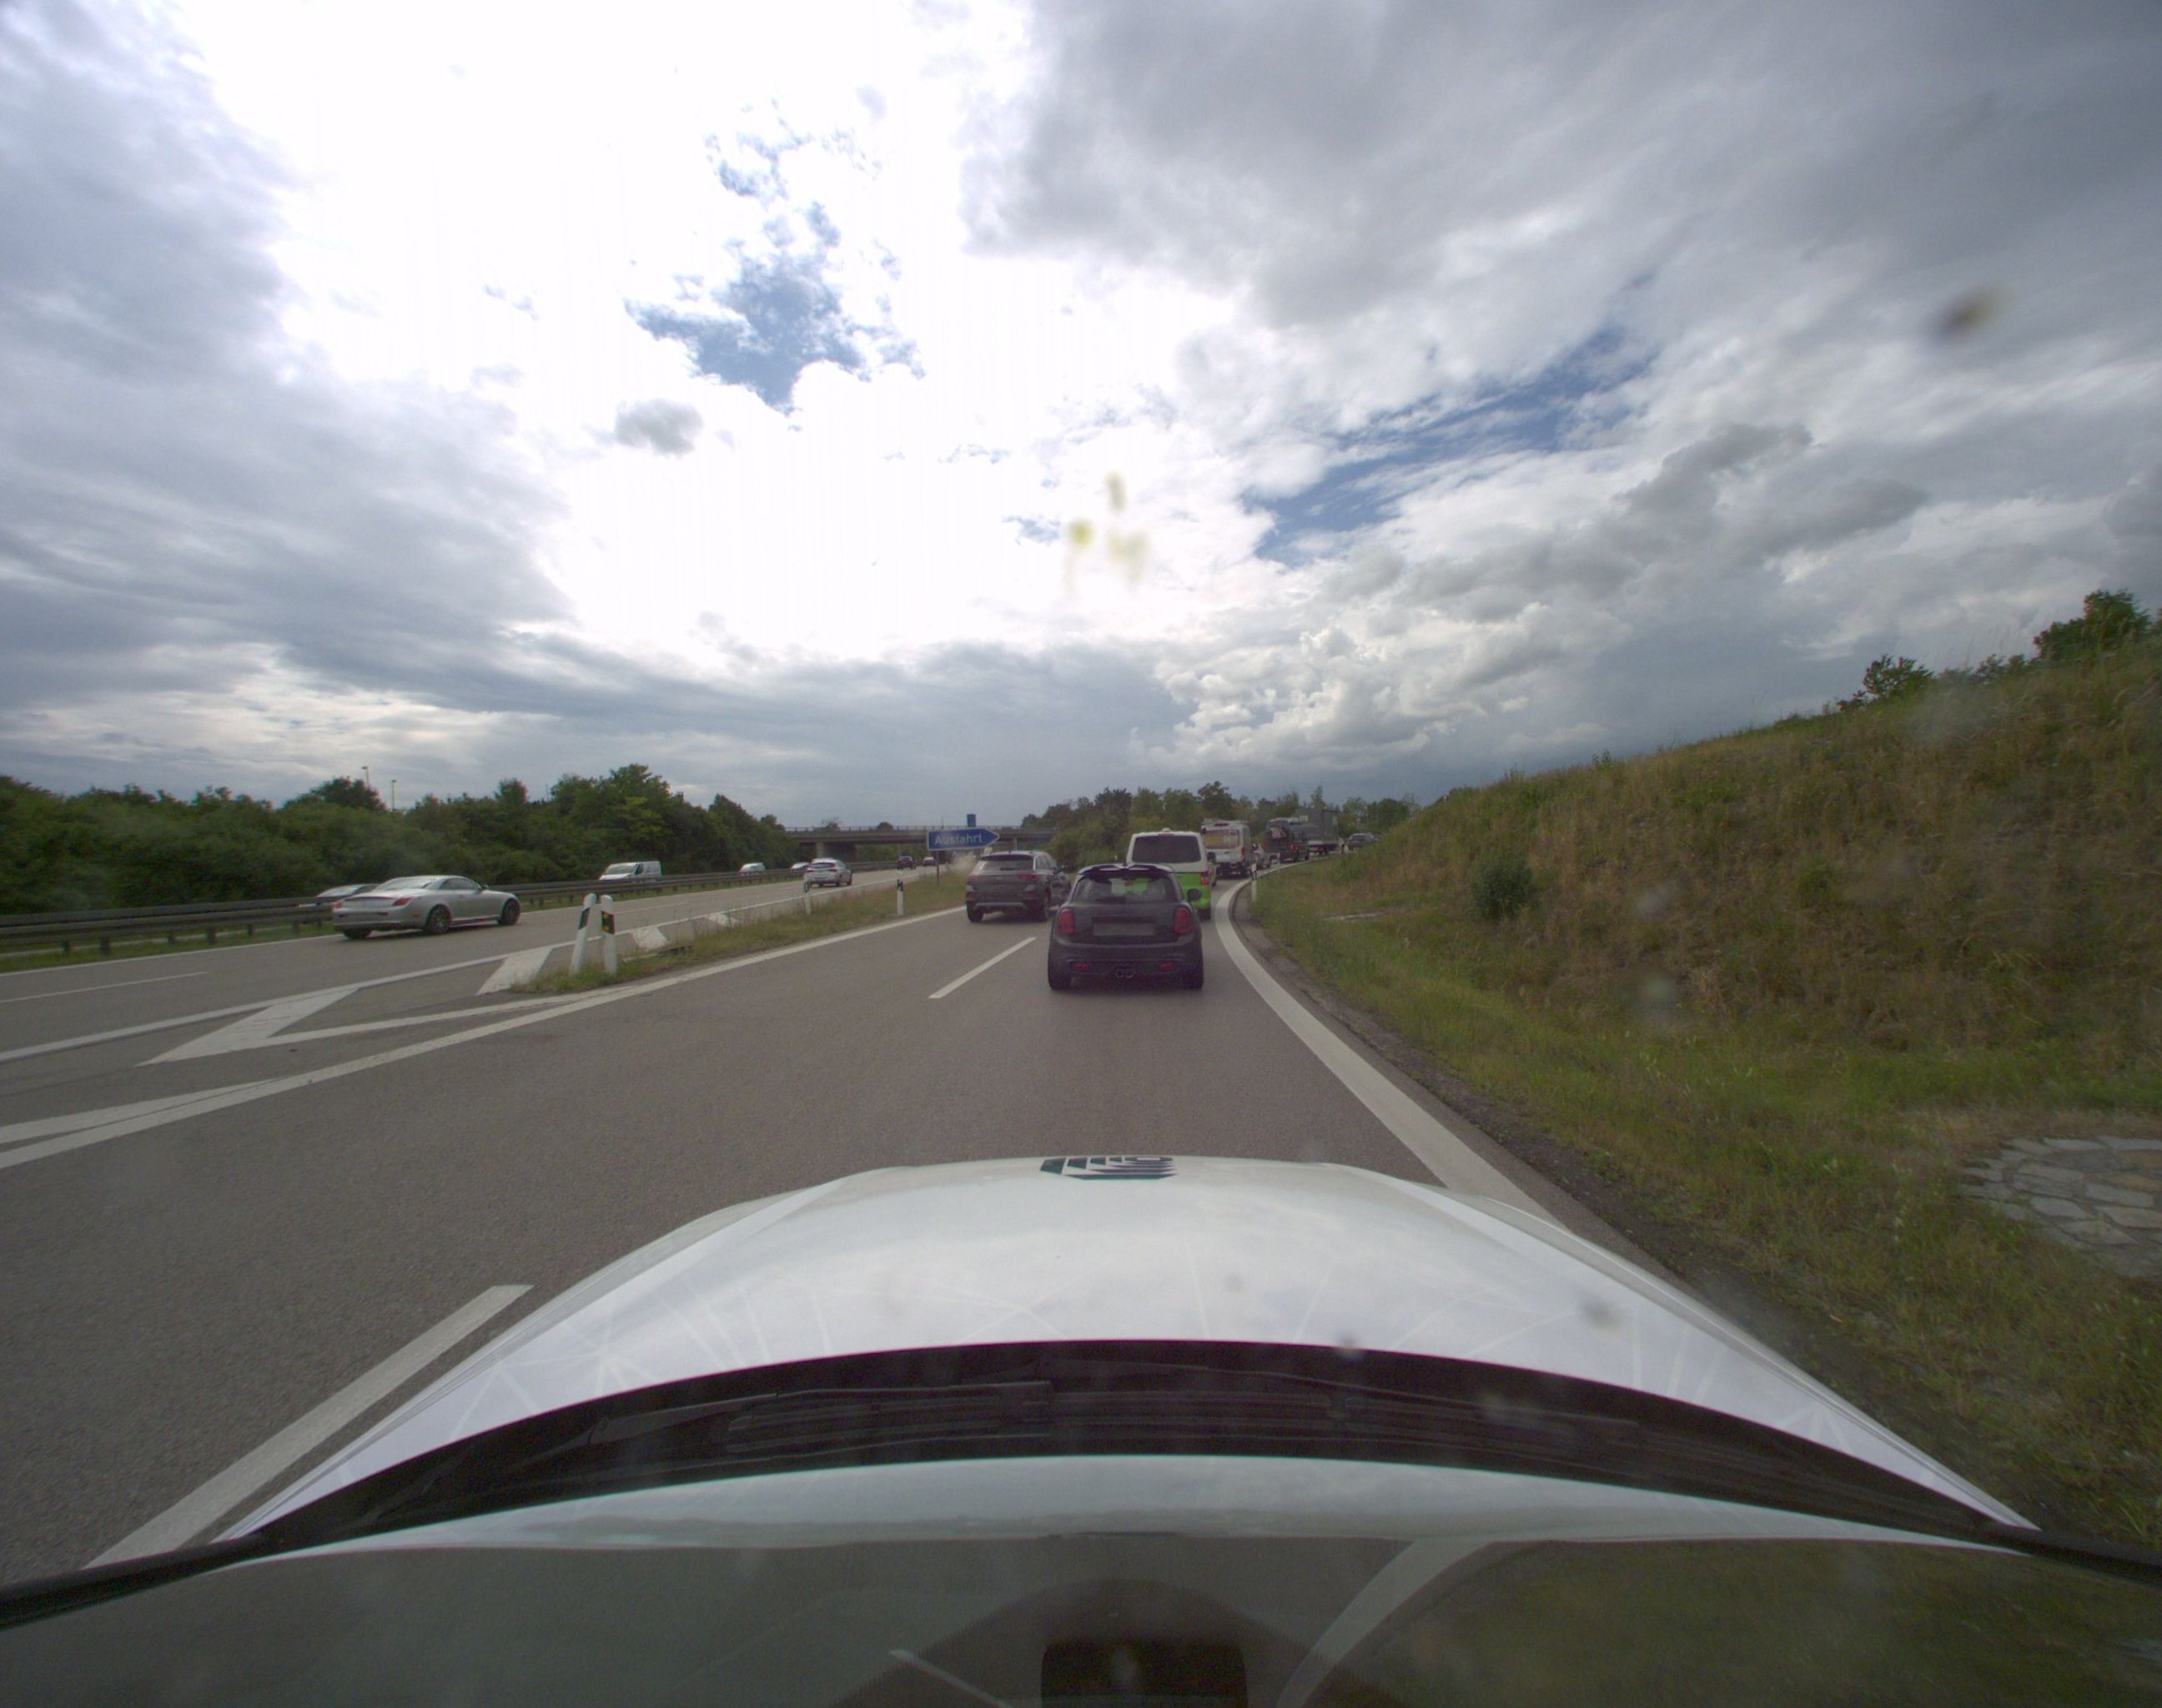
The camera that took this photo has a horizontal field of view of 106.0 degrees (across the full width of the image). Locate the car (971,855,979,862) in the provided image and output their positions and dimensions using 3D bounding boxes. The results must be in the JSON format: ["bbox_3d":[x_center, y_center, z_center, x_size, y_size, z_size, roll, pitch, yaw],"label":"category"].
[{"bbox_3d":[-32.039,1.356,246.249,1.988,1.968,3.996,0,-1,-2],"label":"car"}]

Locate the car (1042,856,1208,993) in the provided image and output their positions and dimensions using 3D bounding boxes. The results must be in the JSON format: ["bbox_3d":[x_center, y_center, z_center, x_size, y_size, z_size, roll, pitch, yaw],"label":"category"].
[{"bbox_3d":[0.588,0.751,10.473,1.719,1.413,3.729,-1,0,4],"label":"car"}]

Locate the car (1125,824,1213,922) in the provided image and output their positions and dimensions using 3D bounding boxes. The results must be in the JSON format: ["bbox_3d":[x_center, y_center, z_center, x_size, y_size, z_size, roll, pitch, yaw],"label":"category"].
[{"bbox_3d":[2.074,0.386,18.795,1.774,2.013,4.009,-1,0,8],"label":"car"}]

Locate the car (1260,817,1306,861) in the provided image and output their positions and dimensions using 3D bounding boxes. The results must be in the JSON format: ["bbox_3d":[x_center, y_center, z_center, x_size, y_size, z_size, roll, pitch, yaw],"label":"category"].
[{"bbox_3d":[13.371,-0.977,53.778,2.085,2.796,4.024,-1,1,26],"label":"car"}]

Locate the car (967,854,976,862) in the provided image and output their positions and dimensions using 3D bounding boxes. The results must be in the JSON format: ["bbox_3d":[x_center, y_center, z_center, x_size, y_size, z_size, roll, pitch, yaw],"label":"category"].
[{"bbox_3d":[-29.751,1.139,222.035,1.988,1.968,3.996,0,-1,-2],"label":"car"}]

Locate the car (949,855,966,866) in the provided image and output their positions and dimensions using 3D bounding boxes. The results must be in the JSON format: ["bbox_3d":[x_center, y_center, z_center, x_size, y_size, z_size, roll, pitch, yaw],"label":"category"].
[{"bbox_3d":[-19.876,1.082,131.188,2.091,1.670,4.302,-2,0,-2],"label":"car"}]

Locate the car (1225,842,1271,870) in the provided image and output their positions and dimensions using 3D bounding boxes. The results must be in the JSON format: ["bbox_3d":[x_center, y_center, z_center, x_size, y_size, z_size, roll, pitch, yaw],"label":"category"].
[{"bbox_3d":[9.398,0.092,45.542,1.850,1.510,4.021,-1,0,21],"label":"car"}]

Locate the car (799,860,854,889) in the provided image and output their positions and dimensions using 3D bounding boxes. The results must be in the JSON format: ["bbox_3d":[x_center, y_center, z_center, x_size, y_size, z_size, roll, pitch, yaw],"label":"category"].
[{"bbox_3d":[-13.567,1.070,43.689,1.775,1.398,4.025,-2,0,-2],"label":"car"}]

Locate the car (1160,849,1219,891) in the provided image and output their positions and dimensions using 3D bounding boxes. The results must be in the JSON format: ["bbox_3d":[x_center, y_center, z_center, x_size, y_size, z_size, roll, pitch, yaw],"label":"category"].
[{"bbox_3d":[4.013,0.535,29.747,1.750,1.398,3.738,-2,0,13],"label":"car"}]

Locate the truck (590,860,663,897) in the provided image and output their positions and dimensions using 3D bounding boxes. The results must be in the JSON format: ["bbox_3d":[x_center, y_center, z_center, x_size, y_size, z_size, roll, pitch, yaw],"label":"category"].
[{"bbox_3d":[-27.382,1.446,49.236,1.990,2.013,4.711,-2,0,-5],"label":"truck"}]

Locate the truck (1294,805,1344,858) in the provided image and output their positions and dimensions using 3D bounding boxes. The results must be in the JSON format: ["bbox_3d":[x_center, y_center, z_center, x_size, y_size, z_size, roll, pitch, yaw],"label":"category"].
[{"bbox_3d":[18.682,-1.641,63.669,2.207,3.906,6.054,-1,-1,31],"label":"truck"}]

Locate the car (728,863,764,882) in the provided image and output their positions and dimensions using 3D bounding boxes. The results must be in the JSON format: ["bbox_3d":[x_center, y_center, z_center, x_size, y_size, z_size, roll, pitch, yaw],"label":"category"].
[{"bbox_3d":[-32.387,1.782,78.833,1.990,1.651,3.993,-2,0,-5],"label":"car"}]

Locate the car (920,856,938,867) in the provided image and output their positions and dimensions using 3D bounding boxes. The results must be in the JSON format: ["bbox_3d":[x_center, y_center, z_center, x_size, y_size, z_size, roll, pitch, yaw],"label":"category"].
[{"bbox_3d":[-24.027,1.224,128.612,2.155,1.670,4.302,-2,0,-2],"label":"car"}]

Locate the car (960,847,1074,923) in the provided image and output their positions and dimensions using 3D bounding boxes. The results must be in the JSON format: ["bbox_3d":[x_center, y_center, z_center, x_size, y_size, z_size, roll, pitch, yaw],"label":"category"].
[{"bbox_3d":[-1.370,0.674,19.137,1.785,1.556,3.970,-1,-1,8],"label":"car"}]

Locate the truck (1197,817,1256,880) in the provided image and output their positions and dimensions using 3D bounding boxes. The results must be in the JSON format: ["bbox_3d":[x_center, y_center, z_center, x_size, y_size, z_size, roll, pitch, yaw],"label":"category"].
[{"bbox_3d":[6.836,-0.300,37.835,2.162,2.658,5.130,-2,1,15],"label":"truck"}]

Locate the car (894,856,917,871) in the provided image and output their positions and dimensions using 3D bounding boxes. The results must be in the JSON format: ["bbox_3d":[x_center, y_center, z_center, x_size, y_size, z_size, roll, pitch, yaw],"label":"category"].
[{"bbox_3d":[-22.249,1.190,103.240,2.091,1.670,4.302,-2,0,-2],"label":"car"}]

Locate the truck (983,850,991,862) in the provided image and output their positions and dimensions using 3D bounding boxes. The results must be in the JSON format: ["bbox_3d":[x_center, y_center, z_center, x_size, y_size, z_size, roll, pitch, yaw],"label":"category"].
[{"bbox_3d":[-26.640,0.540,230.712,2.141,3.507,3.994,0,-1,-4],"label":"truck"}]

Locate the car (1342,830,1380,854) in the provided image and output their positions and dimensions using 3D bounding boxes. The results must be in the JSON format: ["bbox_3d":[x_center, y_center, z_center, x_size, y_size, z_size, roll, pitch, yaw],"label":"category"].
[{"bbox_3d":[24.995,-1.017,72.536,1.974,2.014,4.025,-1,-1,38],"label":"car"}]

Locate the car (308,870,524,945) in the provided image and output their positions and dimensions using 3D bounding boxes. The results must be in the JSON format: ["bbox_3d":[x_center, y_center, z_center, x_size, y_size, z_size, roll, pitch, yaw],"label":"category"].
[{"bbox_3d":[-15.322,1.155,19.130,1.777,1.398,4.298,-2,0,-5],"label":"car"}]
